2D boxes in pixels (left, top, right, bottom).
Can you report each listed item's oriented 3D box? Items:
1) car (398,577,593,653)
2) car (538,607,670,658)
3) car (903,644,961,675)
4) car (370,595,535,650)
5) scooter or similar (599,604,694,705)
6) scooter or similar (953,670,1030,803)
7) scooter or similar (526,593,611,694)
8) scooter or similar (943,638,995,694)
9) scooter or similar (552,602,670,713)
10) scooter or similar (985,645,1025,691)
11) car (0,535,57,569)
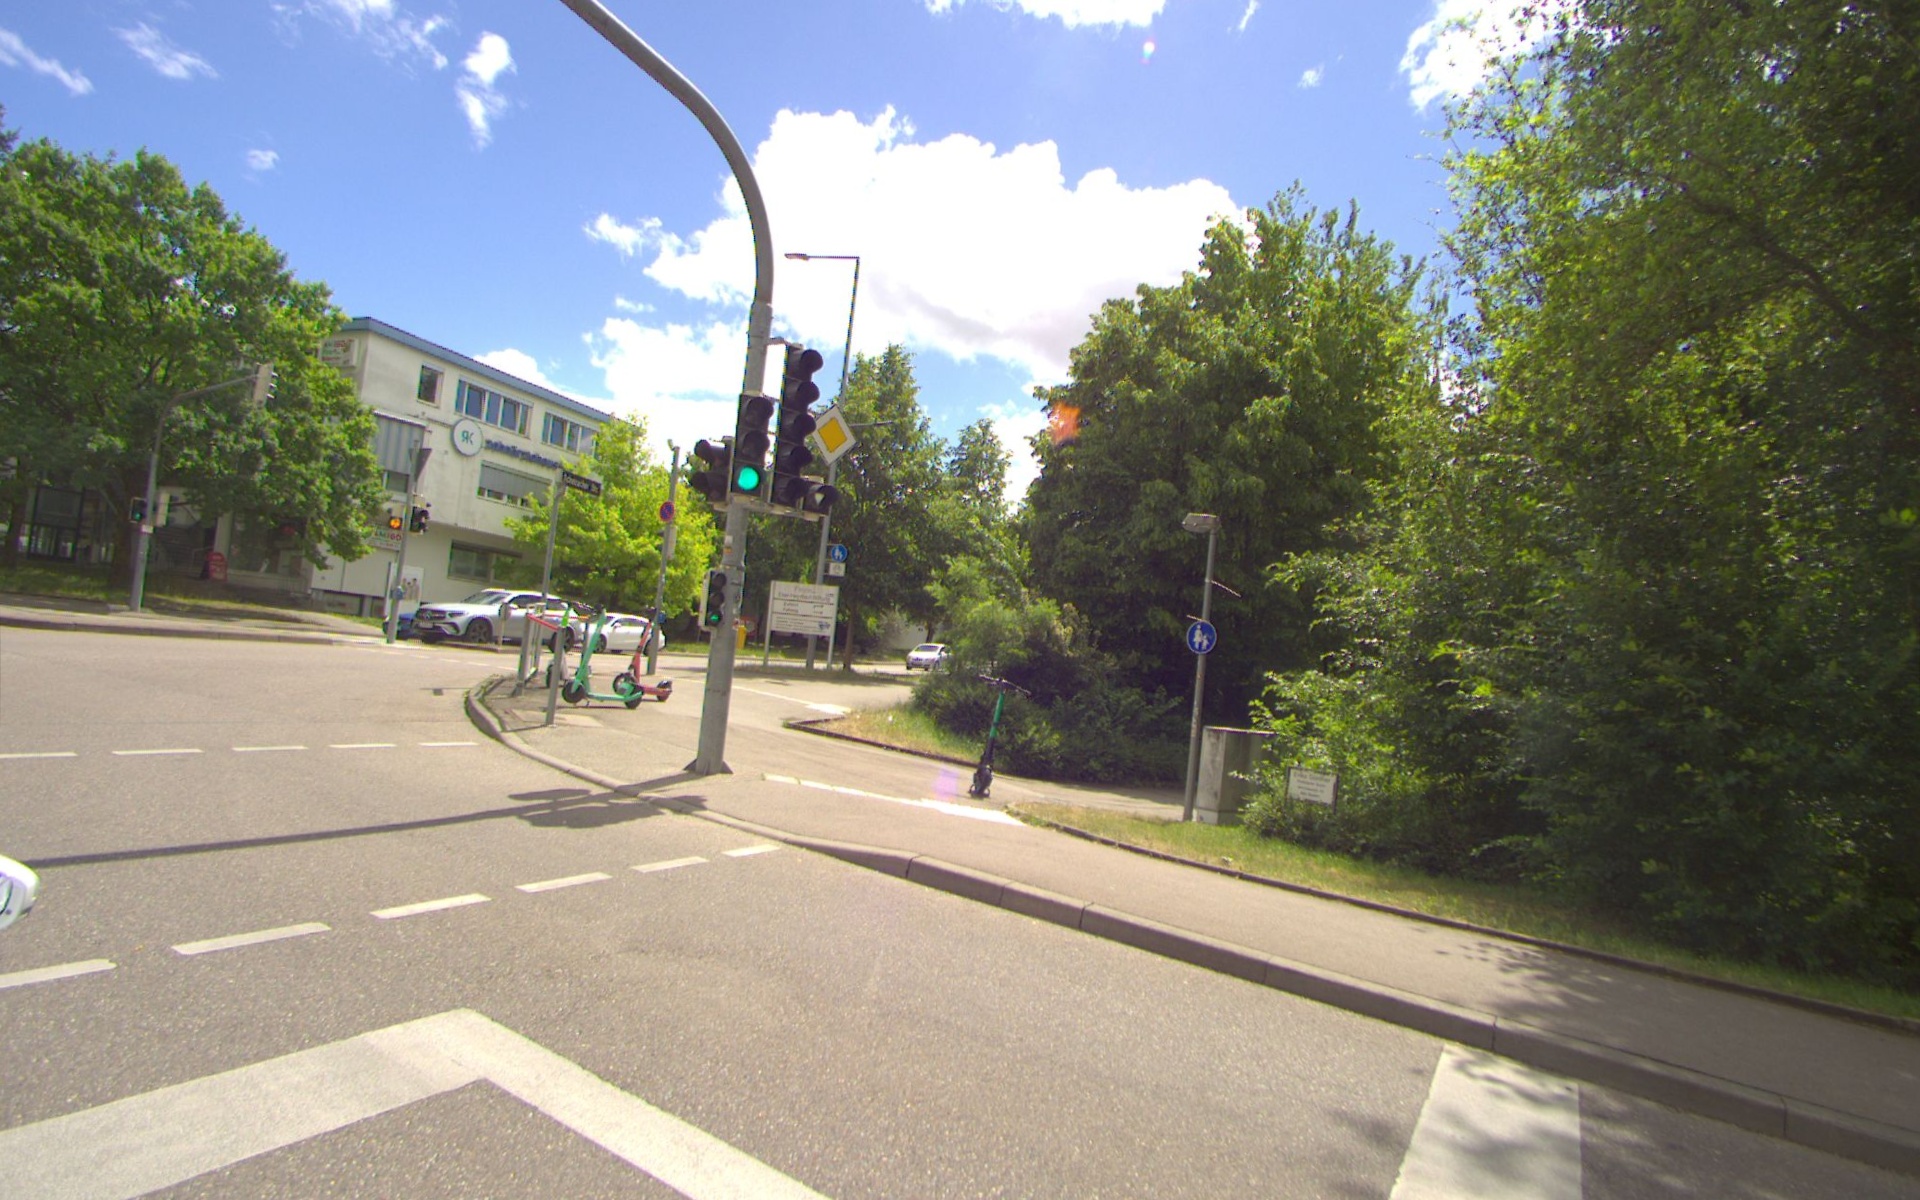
[{"bbox_3d":[-12.425,0.479,27.281,1.889,1.609,4.658,3,-4,23],"label":"car"},{"bbox_3d":[-12.529,1.185,35.685,1.916,1.430,4.407,3,-4,21],"label":"car"},{"bbox_3d":[-1.456,3.178,53.458,1.579,1.428,3.901,3,-4,21],"label":"car"},{"bbox_3d":[-14.755,0.707,29.484,1.879,1.238,3.973,3,-4,23],"label":"car"},{"bbox_3d":[-4.184,0.742,13.499,0.471,1.249,1.186,6,-2,18],"label":"scooter or similar"},{"bbox_3d":[0.329,1.487,11.169,0.526,1.304,1.213,11,-5,-2],"label":"scooter or similar"},{"bbox_3d":[-5.266,0.591,13.595,0.470,1.249,1.212,7,-2,3],"label":"scooter or similar"},{"bbox_3d":[0.215,1.550,23.471,0.515,1.196,1.173,6,-2,35],"label":"scooter or similar"},{"bbox_3d":[-4.133,0.700,11.964,0.442,1.209,1.169,6,-2,35],"label":"scooter or similar"},{"bbox_3d":[1.182,1.780,26.174,0.404,1.086,1.113,6,-2,35],"label":"scooter or similar"},{"bbox_3d":[-52.643,-2.750,56.349,3.931,1.487,1.748,6,-2,29],"label":"car"}]
